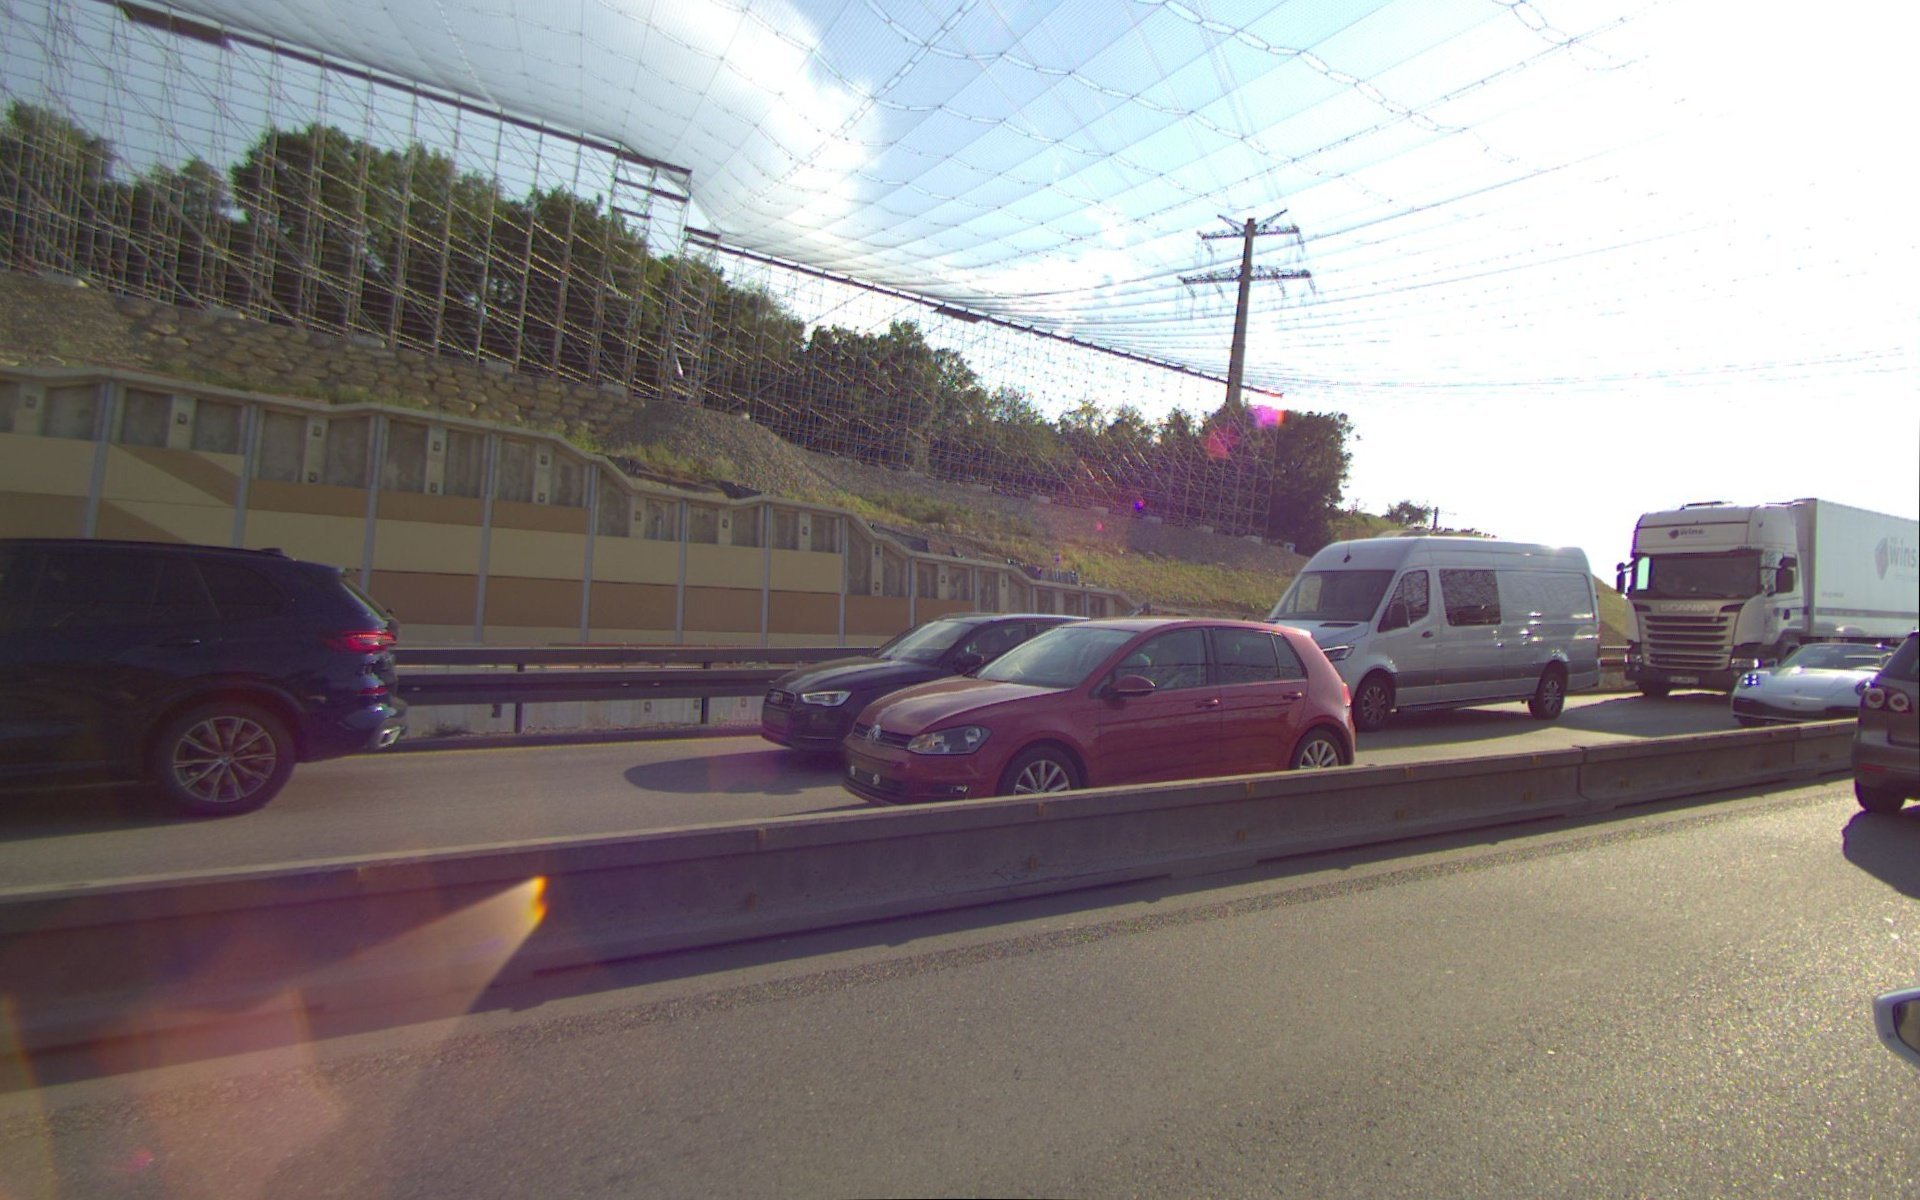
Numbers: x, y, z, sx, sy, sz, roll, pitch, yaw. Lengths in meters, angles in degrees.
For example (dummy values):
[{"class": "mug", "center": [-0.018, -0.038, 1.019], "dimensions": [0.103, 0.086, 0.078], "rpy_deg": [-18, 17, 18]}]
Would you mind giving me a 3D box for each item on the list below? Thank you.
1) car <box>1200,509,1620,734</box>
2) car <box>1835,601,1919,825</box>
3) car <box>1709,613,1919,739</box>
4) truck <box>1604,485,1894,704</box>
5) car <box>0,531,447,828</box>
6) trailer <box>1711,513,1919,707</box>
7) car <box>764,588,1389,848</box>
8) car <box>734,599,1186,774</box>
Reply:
[{"class": "car", "center": [6.957, 0.356, 15.107], "dimensions": [7.004, 2.749, 2.229], "rpy_deg": [2, 0, -32]}, {"class": "car", "center": [8.850, 0.884, 7.960], "dimensions": [3.953, 1.617, 1.684], "rpy_deg": [2, 0, -30]}, {"class": "car", "center": [13.129, 1.051, 14.973], "dimensions": [4.320, 1.589, 1.797], "rpy_deg": [2, 0, -34]}, {"class": "truck", "center": [16.756, -0.011, 21.177], "dimensions": [7.128, 3.962, 2.615], "rpy_deg": [2, 0, -33]}, {"class": "car", "center": [-6.198, 0.458, 6.649], "dimensions": [4.880, 1.750, 1.815], "rpy_deg": [2, 0, -31]}, {"class": "trailer", "center": [23.618, 0.381, 25.825], "dimensions": [13.195, 4.069, 2.653], "rpy_deg": [2, 0, -34]}, {"class": "car", "center": [0.991, 0.708, 7.497], "dimensions": [4.467, 1.438, 1.799], "rpy_deg": [2, 0, -31]}, {"class": "car", "center": [0.077, 0.787, 10.308], "dimensions": [4.330, 1.456, 1.783], "rpy_deg": [2, 0, -31]}]
